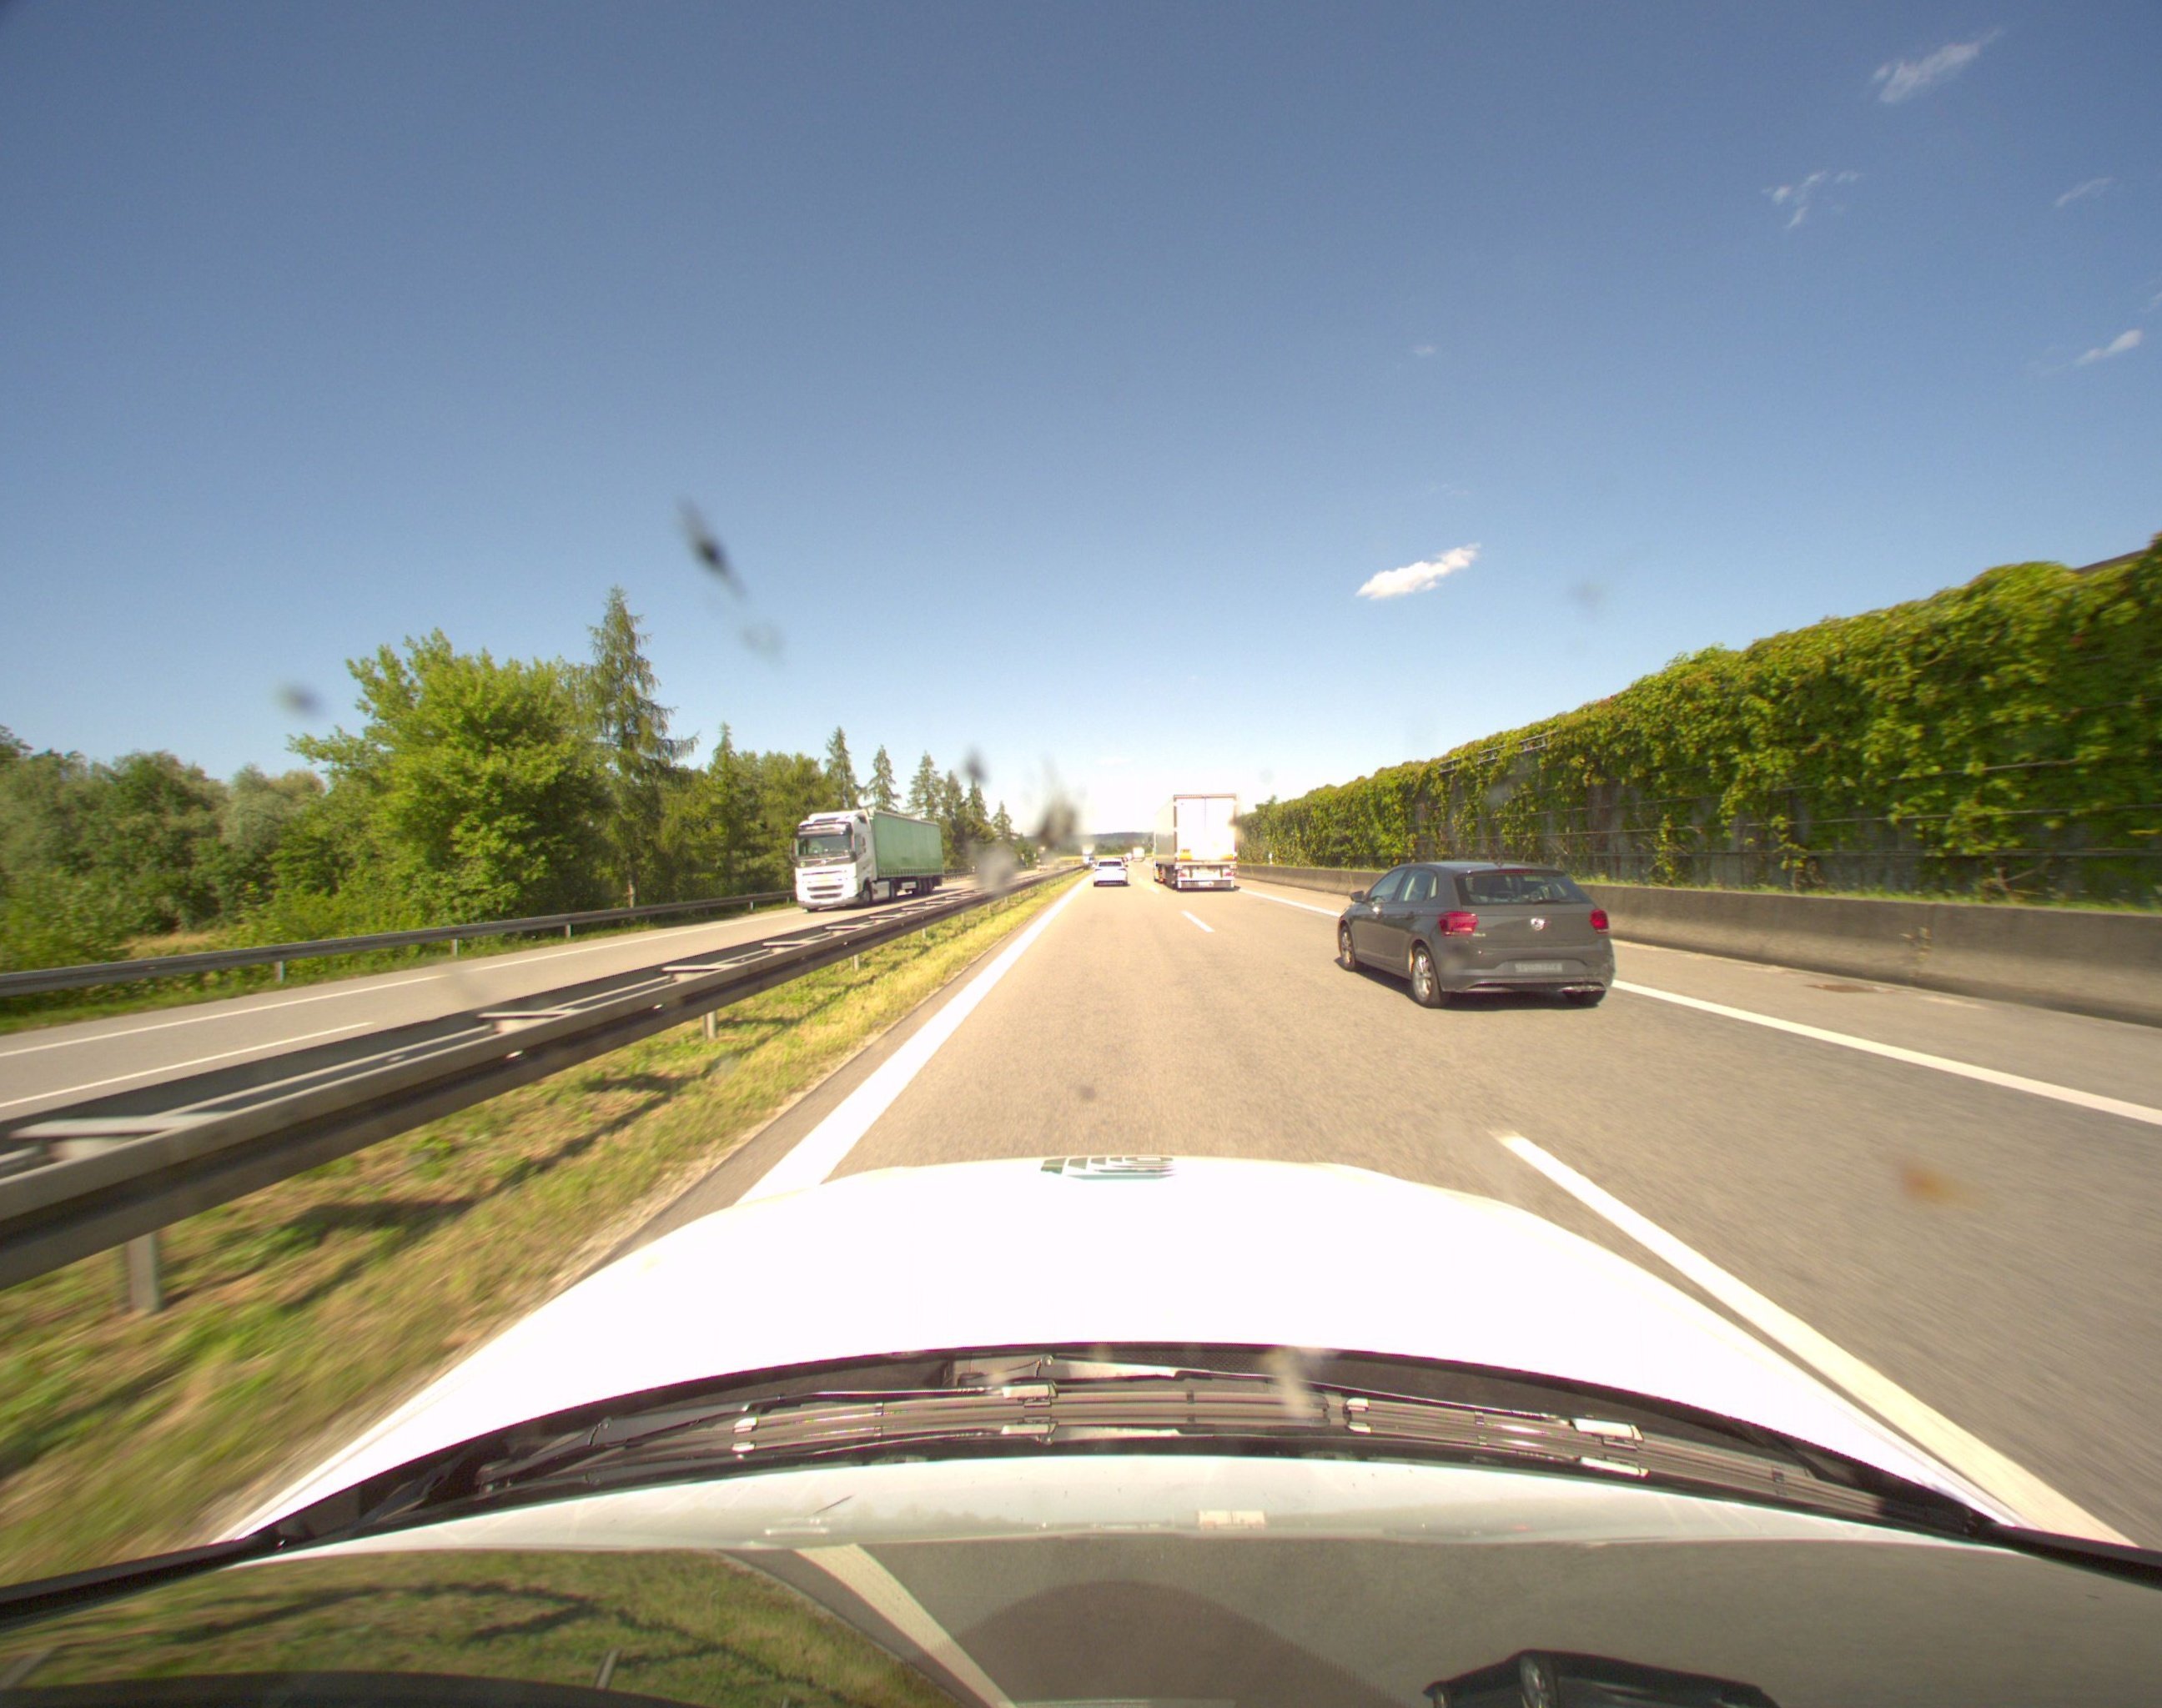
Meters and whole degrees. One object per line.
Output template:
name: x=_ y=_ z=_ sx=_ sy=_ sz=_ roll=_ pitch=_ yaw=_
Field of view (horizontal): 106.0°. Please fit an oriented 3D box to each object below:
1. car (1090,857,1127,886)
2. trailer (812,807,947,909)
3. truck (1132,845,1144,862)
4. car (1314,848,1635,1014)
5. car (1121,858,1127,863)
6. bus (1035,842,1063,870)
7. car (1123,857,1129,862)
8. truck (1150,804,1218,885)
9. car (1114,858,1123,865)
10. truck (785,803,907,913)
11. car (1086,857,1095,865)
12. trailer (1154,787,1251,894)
car: x=1.445 y=0.898 z=43.399 sx=1.833 sy=1.421 sz=5.256 roll=-1 pitch=0 yaw=2
trailer: x=-9.454 y=0.180 z=40.536 sx=2.651 sy=4.008 sz=14.092 roll=-3 pitch=0 yaw=2
truck: x=16.287 y=-0.164 z=233.785 sx=3.139 sy=4.612 sz=8.912 roll=-3 pitch=0 yaw=3
car: x=4.160 y=0.696 z=9.541 sx=1.659 sy=1.454 sz=4.546 roll=-1 pitch=0 yaw=2
car: x=12.284 y=1.829 z=231.623 sx=1.764 sy=1.421 sz=4.368 roll=-1 pitch=0 yaw=3
bus: x=-4.978 y=0.301 z=129.454 sx=2.925 sy=4.054 sz=14.676 roll=-4 pitch=0 yaw=2
car: x=13.756 y=1.681 z=247.950 sx=1.763 sy=1.421 sz=4.370 roll=-1 pitch=0 yaw=4
truck: x=5.547 y=-0.469 z=44.989 sx=2.830 sy=3.966 sz=7.046 roll=-3 pitch=0 yaw=2
car: x=7.790 y=1.521 z=167.524 sx=1.764 sy=1.421 sz=4.497 roll=-1 pitch=0 yaw=2
truck: x=-9.685 y=0.159 z=34.461 sx=2.634 sy=4.008 sz=7.196 roll=-3 pitch=0 yaw=2
car: x=2.187 y=1.632 z=192.689 sx=1.747 sy=1.849 sz=5.015 roll=-4 pitch=0 yaw=3
trailer: x=5.289 y=-0.503 z=38.228 sx=2.807 sy=3.966 sz=14.168 roll=-3 pitch=0 yaw=2
